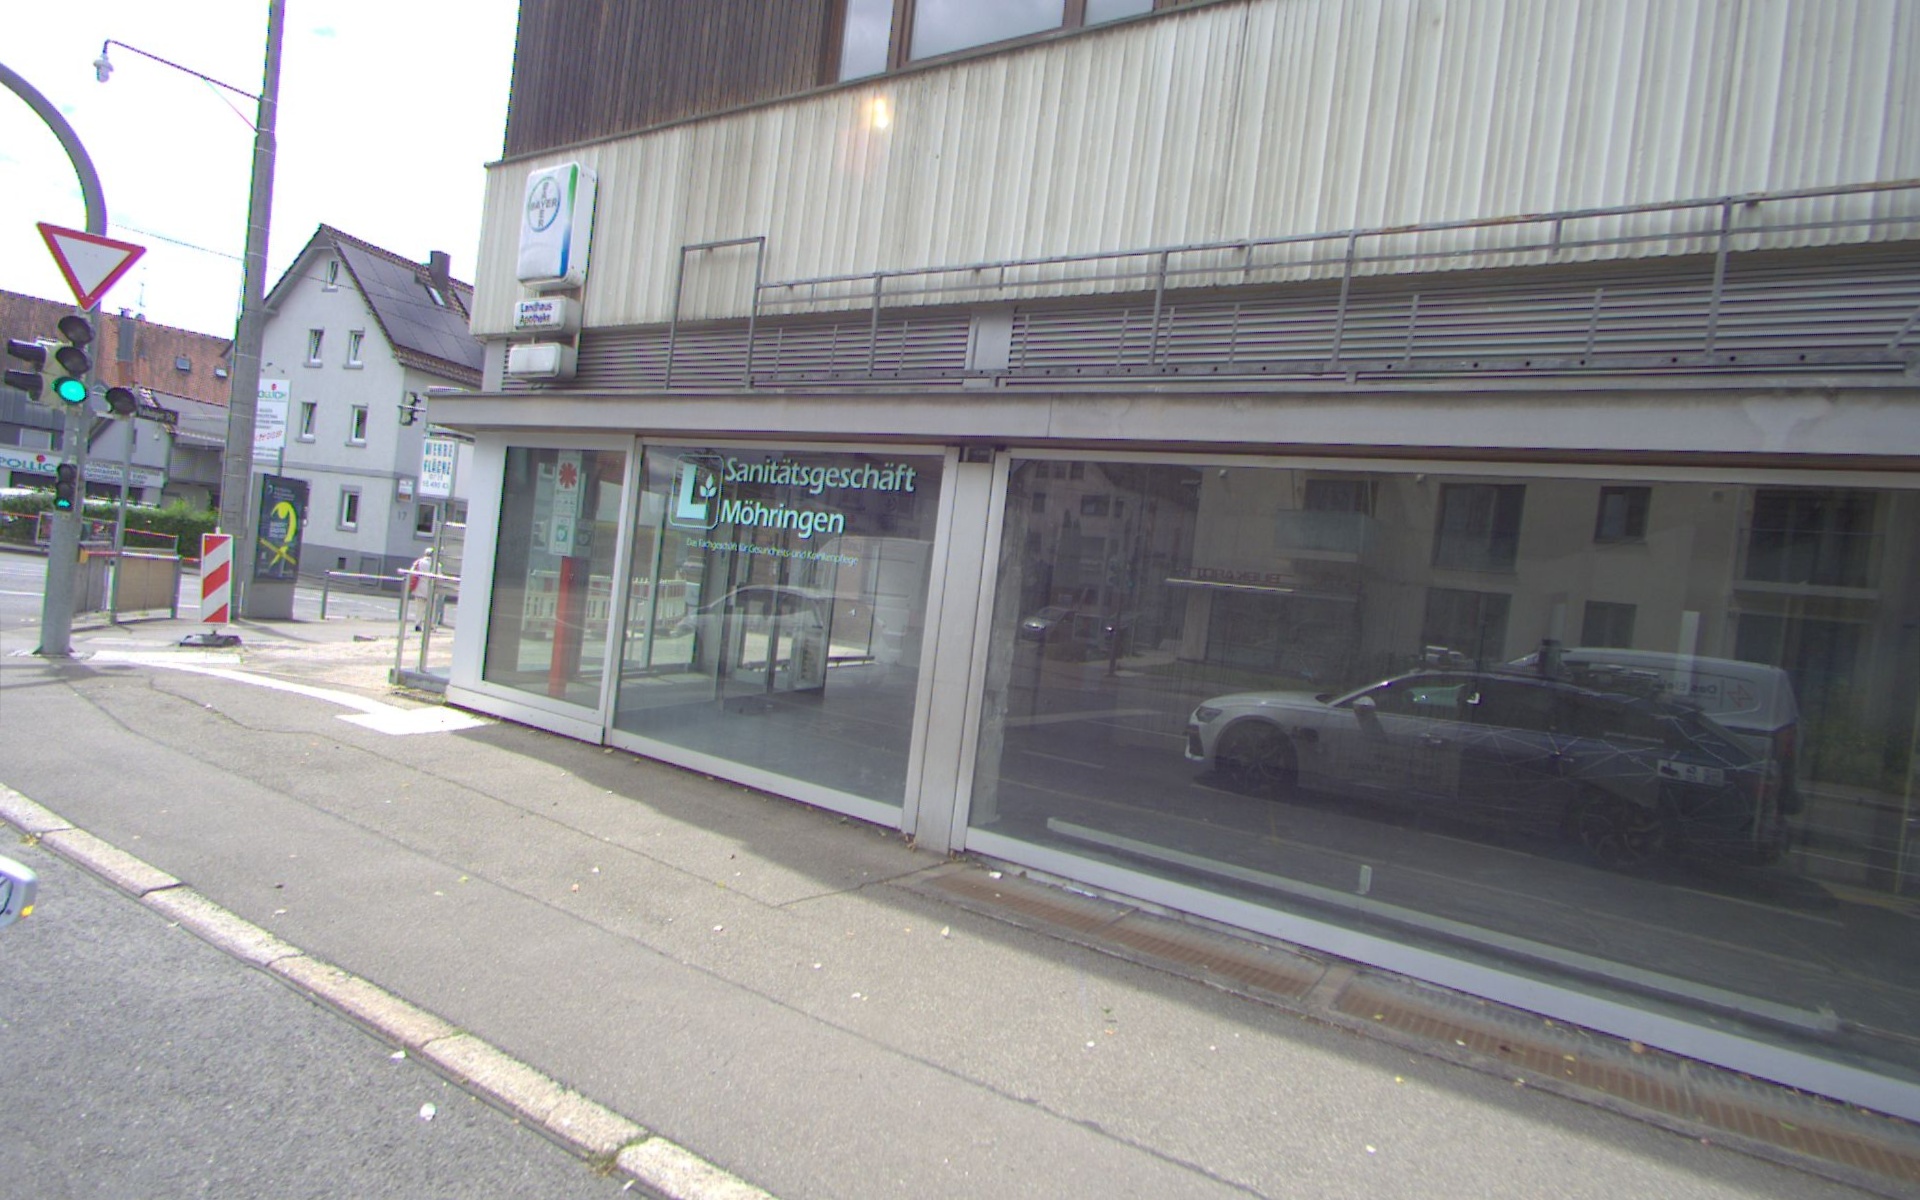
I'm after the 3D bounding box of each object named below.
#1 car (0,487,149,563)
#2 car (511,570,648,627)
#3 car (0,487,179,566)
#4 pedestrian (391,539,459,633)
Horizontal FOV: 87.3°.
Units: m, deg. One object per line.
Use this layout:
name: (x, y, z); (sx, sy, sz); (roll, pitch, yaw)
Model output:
car: (-31.259, -2.599, 35.095); (1.964, 2.037, 4.000); (7, -1, 24)
car: (-13.757, -0.001, 36.691); (1.963, 1.474, 4.619); (9, -1, 22)
car: (-29.236, -2.422, 33.926); (1.964, 1.970, 4.000); (6, -2, 23)
pedestrian: (-10.127, -0.259, 19.040); (0.831, 1.657, 0.864); (7, -2, -42)
